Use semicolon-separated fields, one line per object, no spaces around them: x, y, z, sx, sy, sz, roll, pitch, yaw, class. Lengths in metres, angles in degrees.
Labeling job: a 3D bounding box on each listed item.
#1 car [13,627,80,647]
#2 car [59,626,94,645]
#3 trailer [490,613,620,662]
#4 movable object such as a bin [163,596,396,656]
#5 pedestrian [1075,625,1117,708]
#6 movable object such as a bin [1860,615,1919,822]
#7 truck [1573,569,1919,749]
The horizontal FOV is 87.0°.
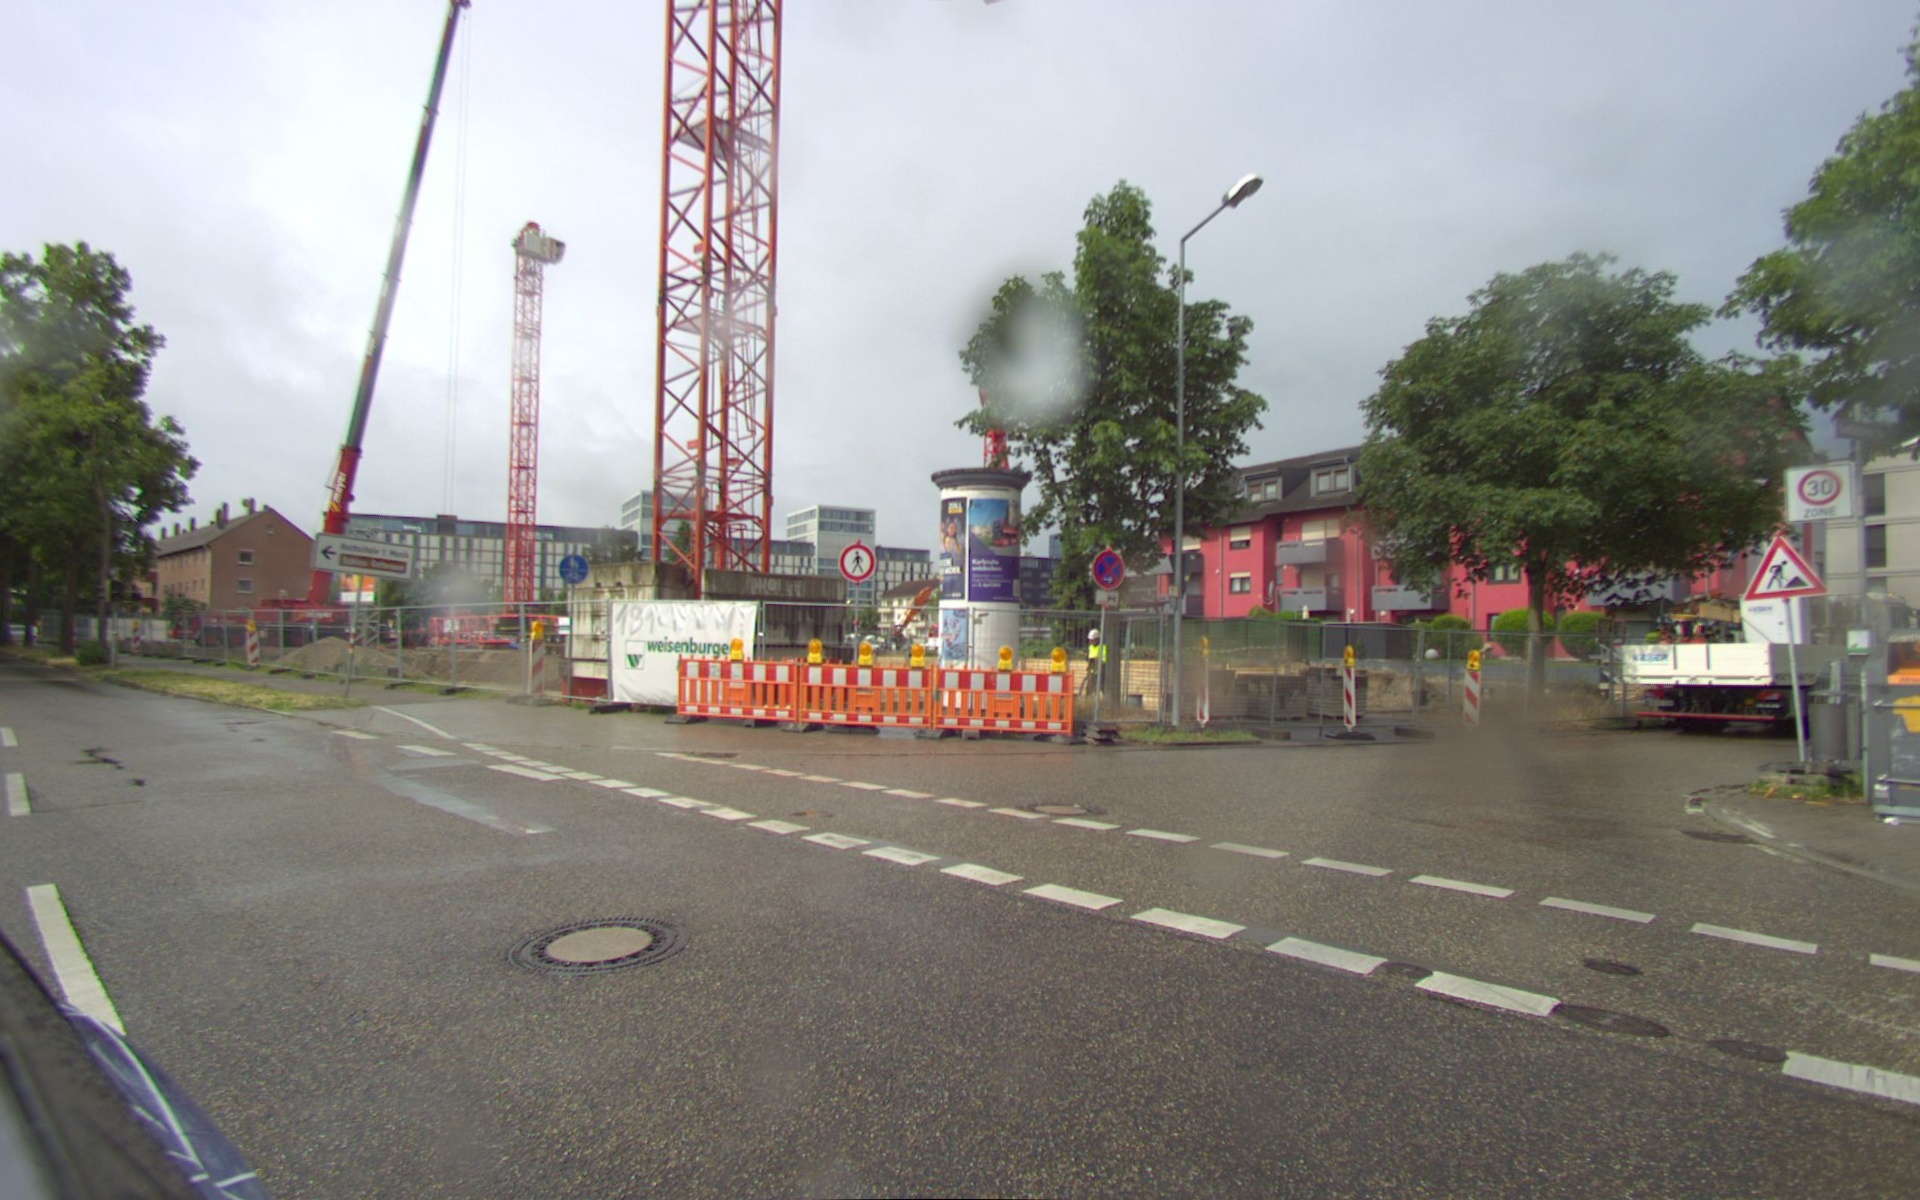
-75.052;3.004;83.229;3.806;1.564;1.703;1;-1;-32;car
-77.390;3.109;88.636;3.997;1.541;1.672;0;-1;40;car
-30.580;2.655;75.818;14.305;3.257;2.929;0;1;42;trailer
-56.027;2.045;84.062;3.103;4.593;15.723;-1;-1;45;movable object such as a bin
2.724;1.339;20.296;0.610;1.632;0.551;3;-4;-32;pedestrian
9.350;1.078;9.187;1.516;1.838;1.267;3;-4;-29;movable object such as a bin
17.915;1.349;22.302;9.679;3.208;3.802;3;-4;-34;truck
